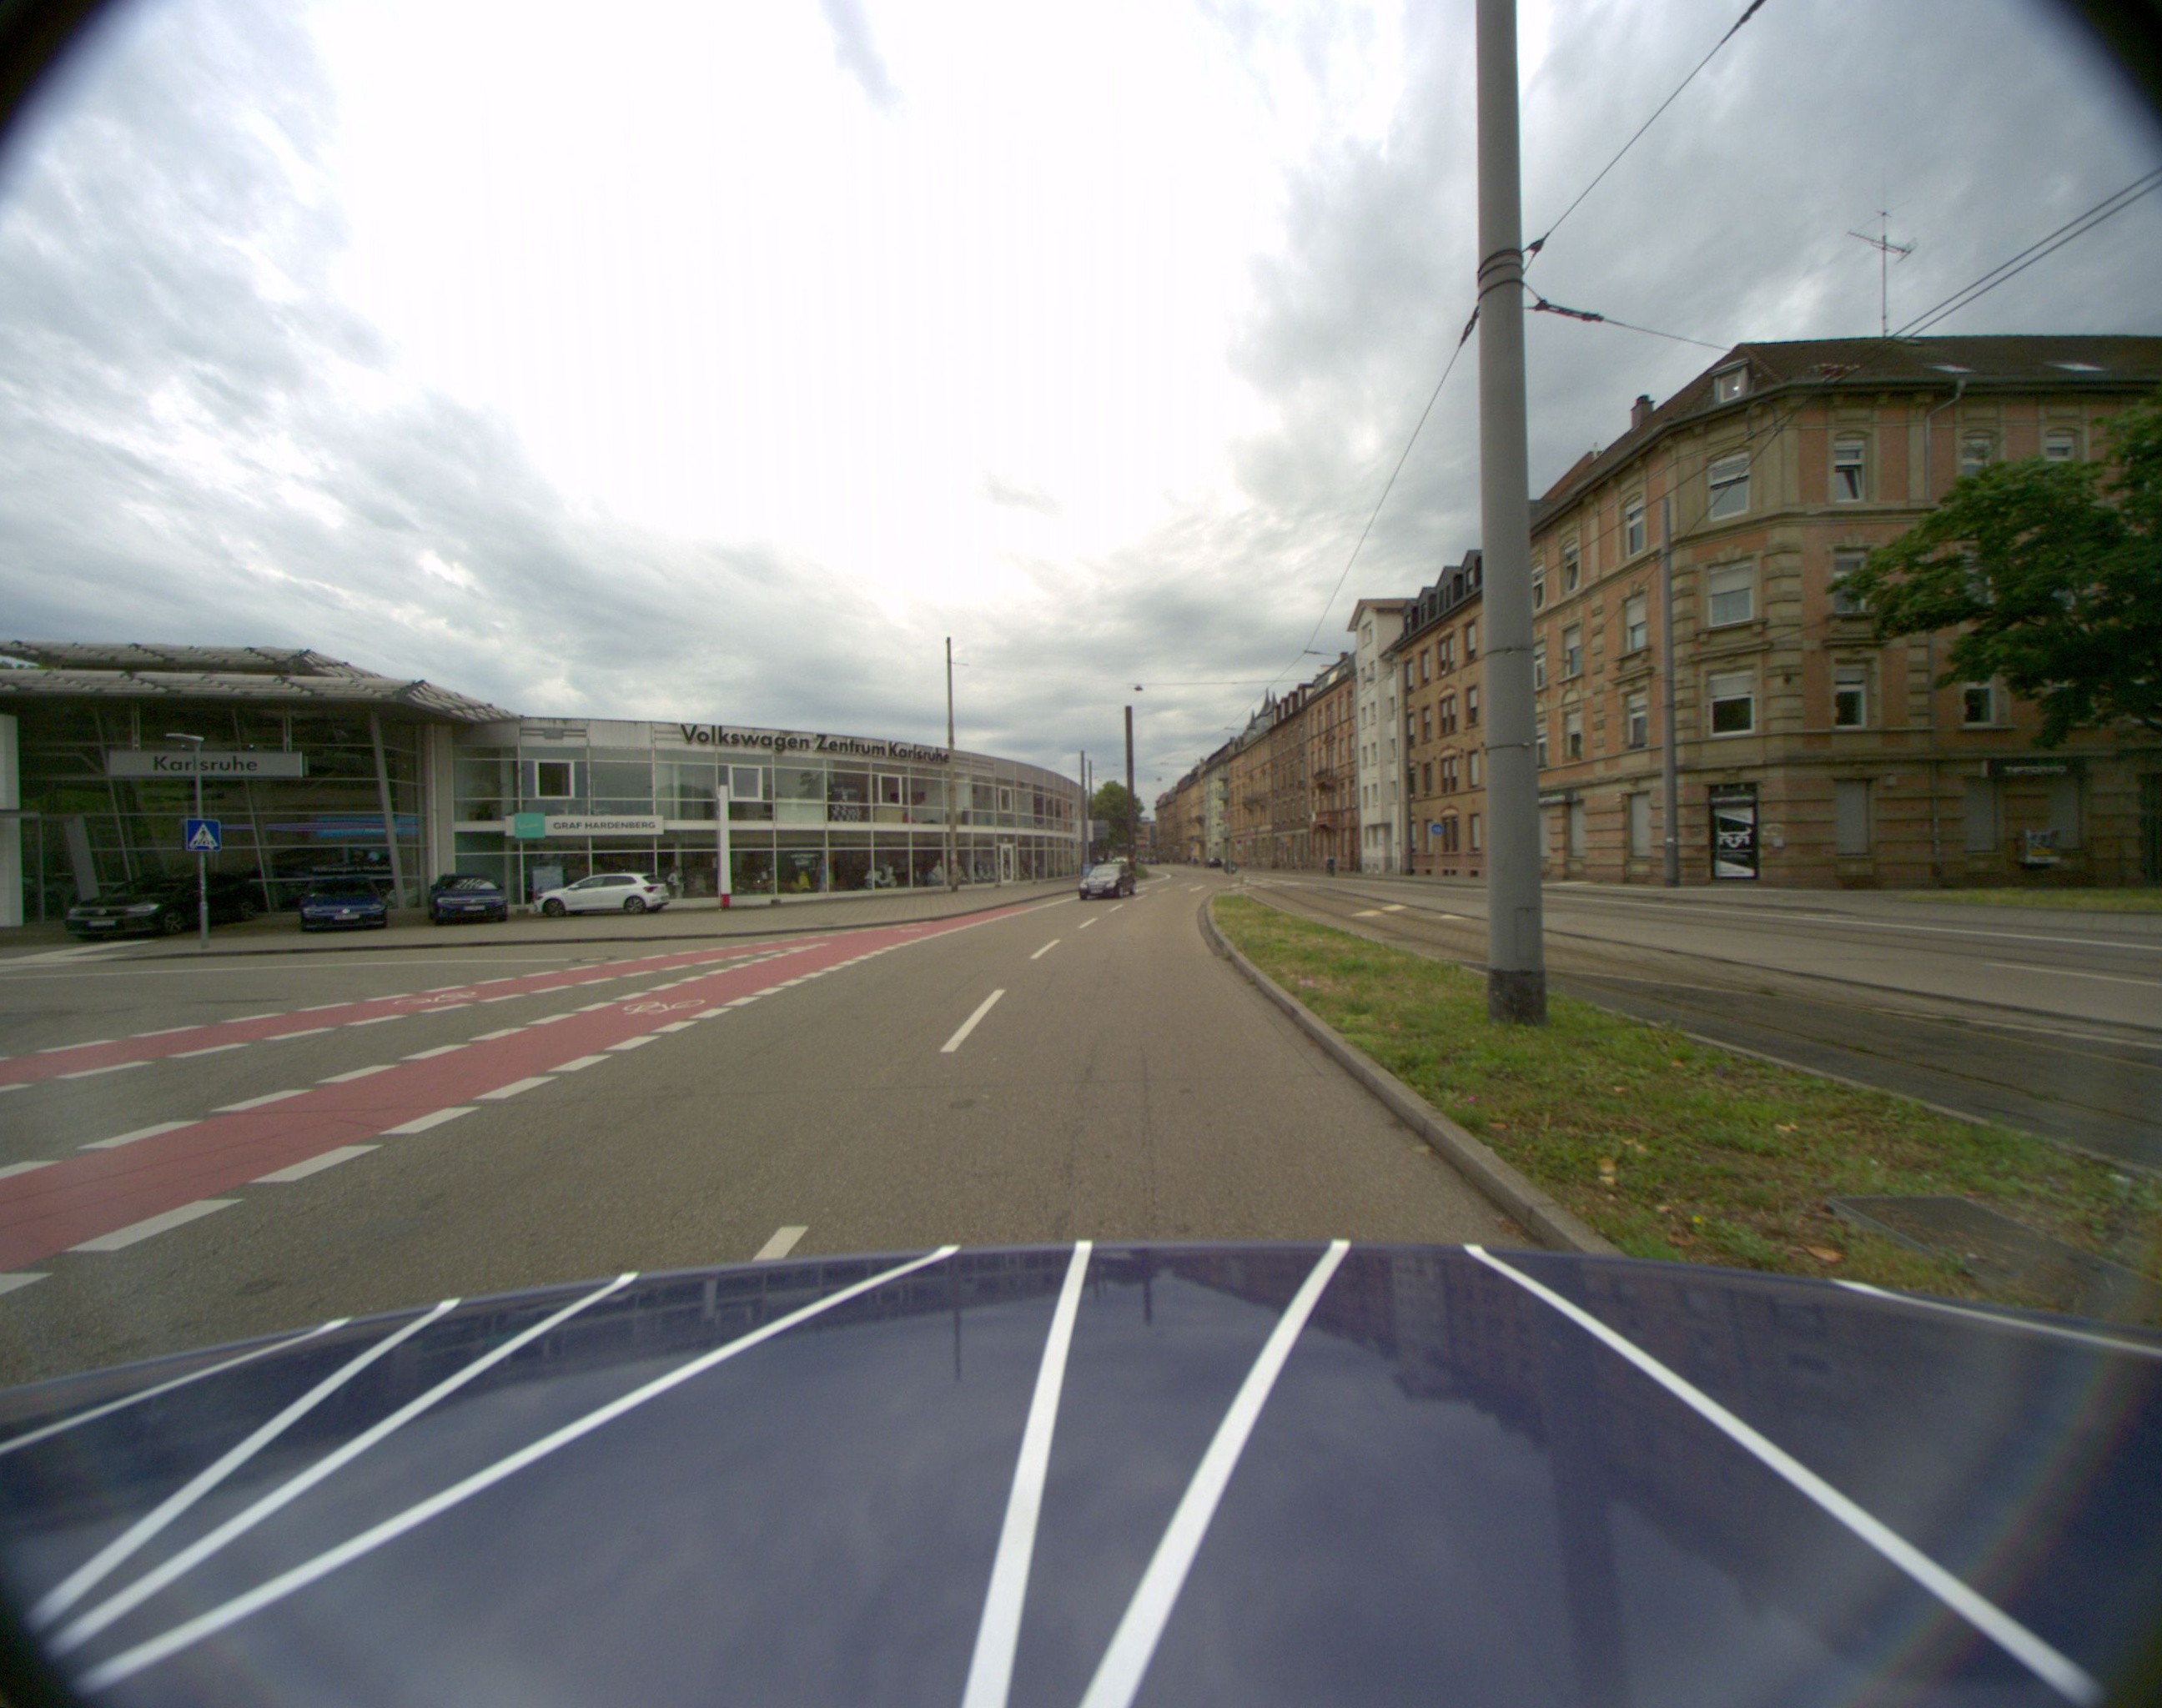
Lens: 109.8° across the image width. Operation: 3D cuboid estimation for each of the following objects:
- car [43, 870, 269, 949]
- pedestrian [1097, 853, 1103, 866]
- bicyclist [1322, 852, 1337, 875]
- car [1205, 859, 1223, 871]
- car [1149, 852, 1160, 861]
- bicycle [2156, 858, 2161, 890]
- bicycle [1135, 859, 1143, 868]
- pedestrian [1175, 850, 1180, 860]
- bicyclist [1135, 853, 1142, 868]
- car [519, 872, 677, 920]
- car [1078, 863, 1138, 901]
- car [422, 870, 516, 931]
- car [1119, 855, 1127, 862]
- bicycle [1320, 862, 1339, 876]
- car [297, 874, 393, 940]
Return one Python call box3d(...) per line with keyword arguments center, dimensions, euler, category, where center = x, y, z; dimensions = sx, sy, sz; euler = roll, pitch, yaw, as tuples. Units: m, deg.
box3d(center=(-26.318, 1.483, 21.930), dimensions=(1.862, 1.624, 4.500), euler=(-3, 4, -17), category="car")
box3d(center=(2.659, 0.764, 106.345), dimensions=(0.871, 1.843, 0.706), euler=(-1, 1, 1), category="pedestrian")
box3d(center=(16.781, 0.641, 51.347), dimensions=(0.663, 1.485, 0.942), euler=(-2, 0, -3), category="bicyclist")
box3d(center=(17.739, 1.456, 101.428), dimensions=(1.852, 1.471, 3.829), euler=(-1, 0, 3), category="car")
box3d(center=(13.950, 0.450, 144.096), dimensions=(1.802, 1.630, 4.230), euler=(-1, 0, 2), category="car")
box3d(center=(30.580, 0.546, 20.433), dimensions=(0.661, 0.909, 1.991), euler=(-1, -1, 6), category="bicycle")
box3d(center=(6.931, 1.148, 90.927), dimensions=(0.727, 1.003, 2.177), euler=(-1, 0, 8), category="bicycle")
box3d(center=(18.875, 0.250, 148.882), dimensions=(0.814, 2.002, 0.733), euler=(-1, 1, 1), category="pedestrian")
box3d(center=(6.930, 0.777, 90.910), dimensions=(0.730, 1.747, 0.911), euler=(-1, 1, 7), category="bicyclist")
box3d(center=(-16.798, 1.442, 26.638), dimensions=(4.263, 1.444, 1.782), euler=(-2, 0, -9), category="car")
box3d(center=(1.227, 1.137, 32.402), dimensions=(1.712, 1.413, 4.073), euler=(-1, 0, 14), category="car")
box3d(center=(-19.657, 1.410, 24.342), dimensions=(1.905, 1.554, 4.207), euler=(-2, 3, -44), category="car")
box3d(center=(10.121, 1.144, 182.816), dimensions=(1.802, 1.630, 4.230), euler=(-1, 0, 2), category="car")
box3d(center=(16.794, 1.029, 51.382), dimensions=(0.607, 0.910, 1.719), euler=(-2, 0, -3), category="bicycle")
box3d(center=(-22.133, 1.498, 22.800), dimensions=(4.325, 1.496, 1.862), euler=(3, 3, 44), category="car")
